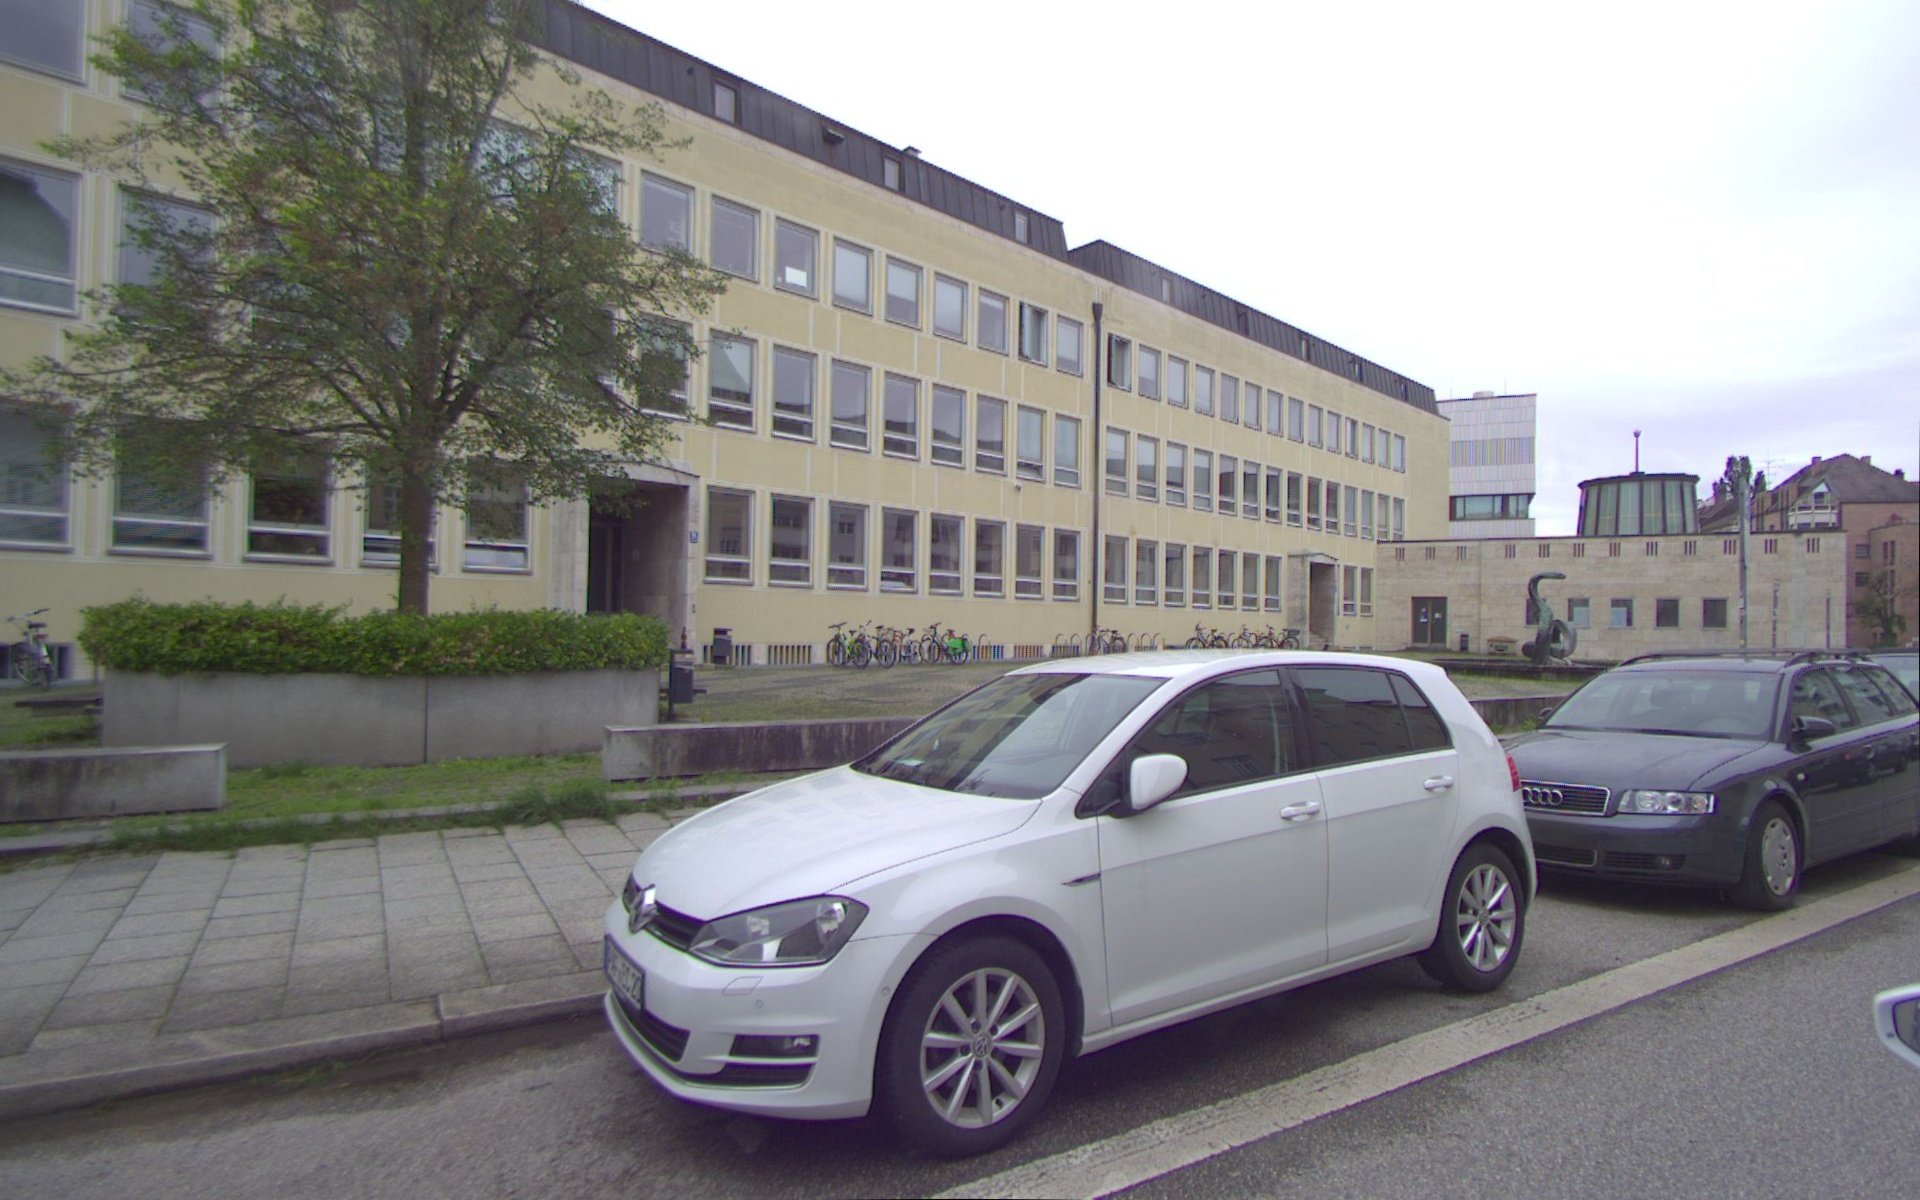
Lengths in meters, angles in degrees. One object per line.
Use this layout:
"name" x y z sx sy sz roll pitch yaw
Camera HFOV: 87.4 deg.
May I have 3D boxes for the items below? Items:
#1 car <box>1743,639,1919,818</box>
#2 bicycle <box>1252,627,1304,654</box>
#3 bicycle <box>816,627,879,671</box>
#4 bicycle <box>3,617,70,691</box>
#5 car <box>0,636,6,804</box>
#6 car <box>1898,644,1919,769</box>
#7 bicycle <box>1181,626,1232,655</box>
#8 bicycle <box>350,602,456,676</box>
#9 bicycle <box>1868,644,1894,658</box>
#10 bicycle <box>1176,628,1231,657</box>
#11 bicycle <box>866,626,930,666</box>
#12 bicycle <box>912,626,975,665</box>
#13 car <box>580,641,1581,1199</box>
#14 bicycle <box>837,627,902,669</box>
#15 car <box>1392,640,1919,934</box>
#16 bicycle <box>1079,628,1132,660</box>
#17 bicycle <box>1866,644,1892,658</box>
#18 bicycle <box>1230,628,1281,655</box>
"car" 9.085 1.113 9.503 3.277 1.472 1.647 2 -3 -33
"bicycle" 12.986 1.645 41.059 1.923 1.028 0.623 0 -1 40
"bicycle" -2.845 1.217 25.274 0.620 1.028 1.931 1 -1 -39
"bicycle" -13.881 0.780 15.077 1.926 1.028 0.622 0 -1 44
"car" -4.113 0.761 1.257 3.932 1.472 1.647 2 -3 -33
"car" 13.177 1.246 12.133 4.410 1.424 1.788 2 -3 -35
"bicycle" 9.403 1.542 38.351 0.620 1.028 1.931 1 -1 -39
"bicycle" -10.306 0.684 18.545 2.409 1.265 1.050 0 -1 44
"bicycle" 86.073 4.755 93.853 1.728 1.305 0.552 1 -1 30
"bicycle" 9.070 1.568 37.486 1.926 1.028 0.622 0 -1 44
"bicycle" -1.684 1.221 27.033 0.621 1.028 1.928 2 -1 -43
"bicycle" -0.484 1.251 27.885 0.621 1.028 1.928 2 -1 -43
"car" 0.702 0.920 4.187 4.029 1.472 1.647 2 -3 -33
"bicycle" -2.347 1.219 25.943 0.621 1.028 1.928 2 -1 -43
"car" 5.137 1.025 6.935 4.345 1.472 1.747 2 -3 -31
"bicycle" 4.886 1.465 33.814 0.619 1.028 1.933 1 -1 -36
"bicycle" 86.404 4.801 94.431 1.728 1.305 0.552 1 -1 30
"bicycle" 11.827 1.651 40.251 0.621 1.028 1.928 2 -1 -43
